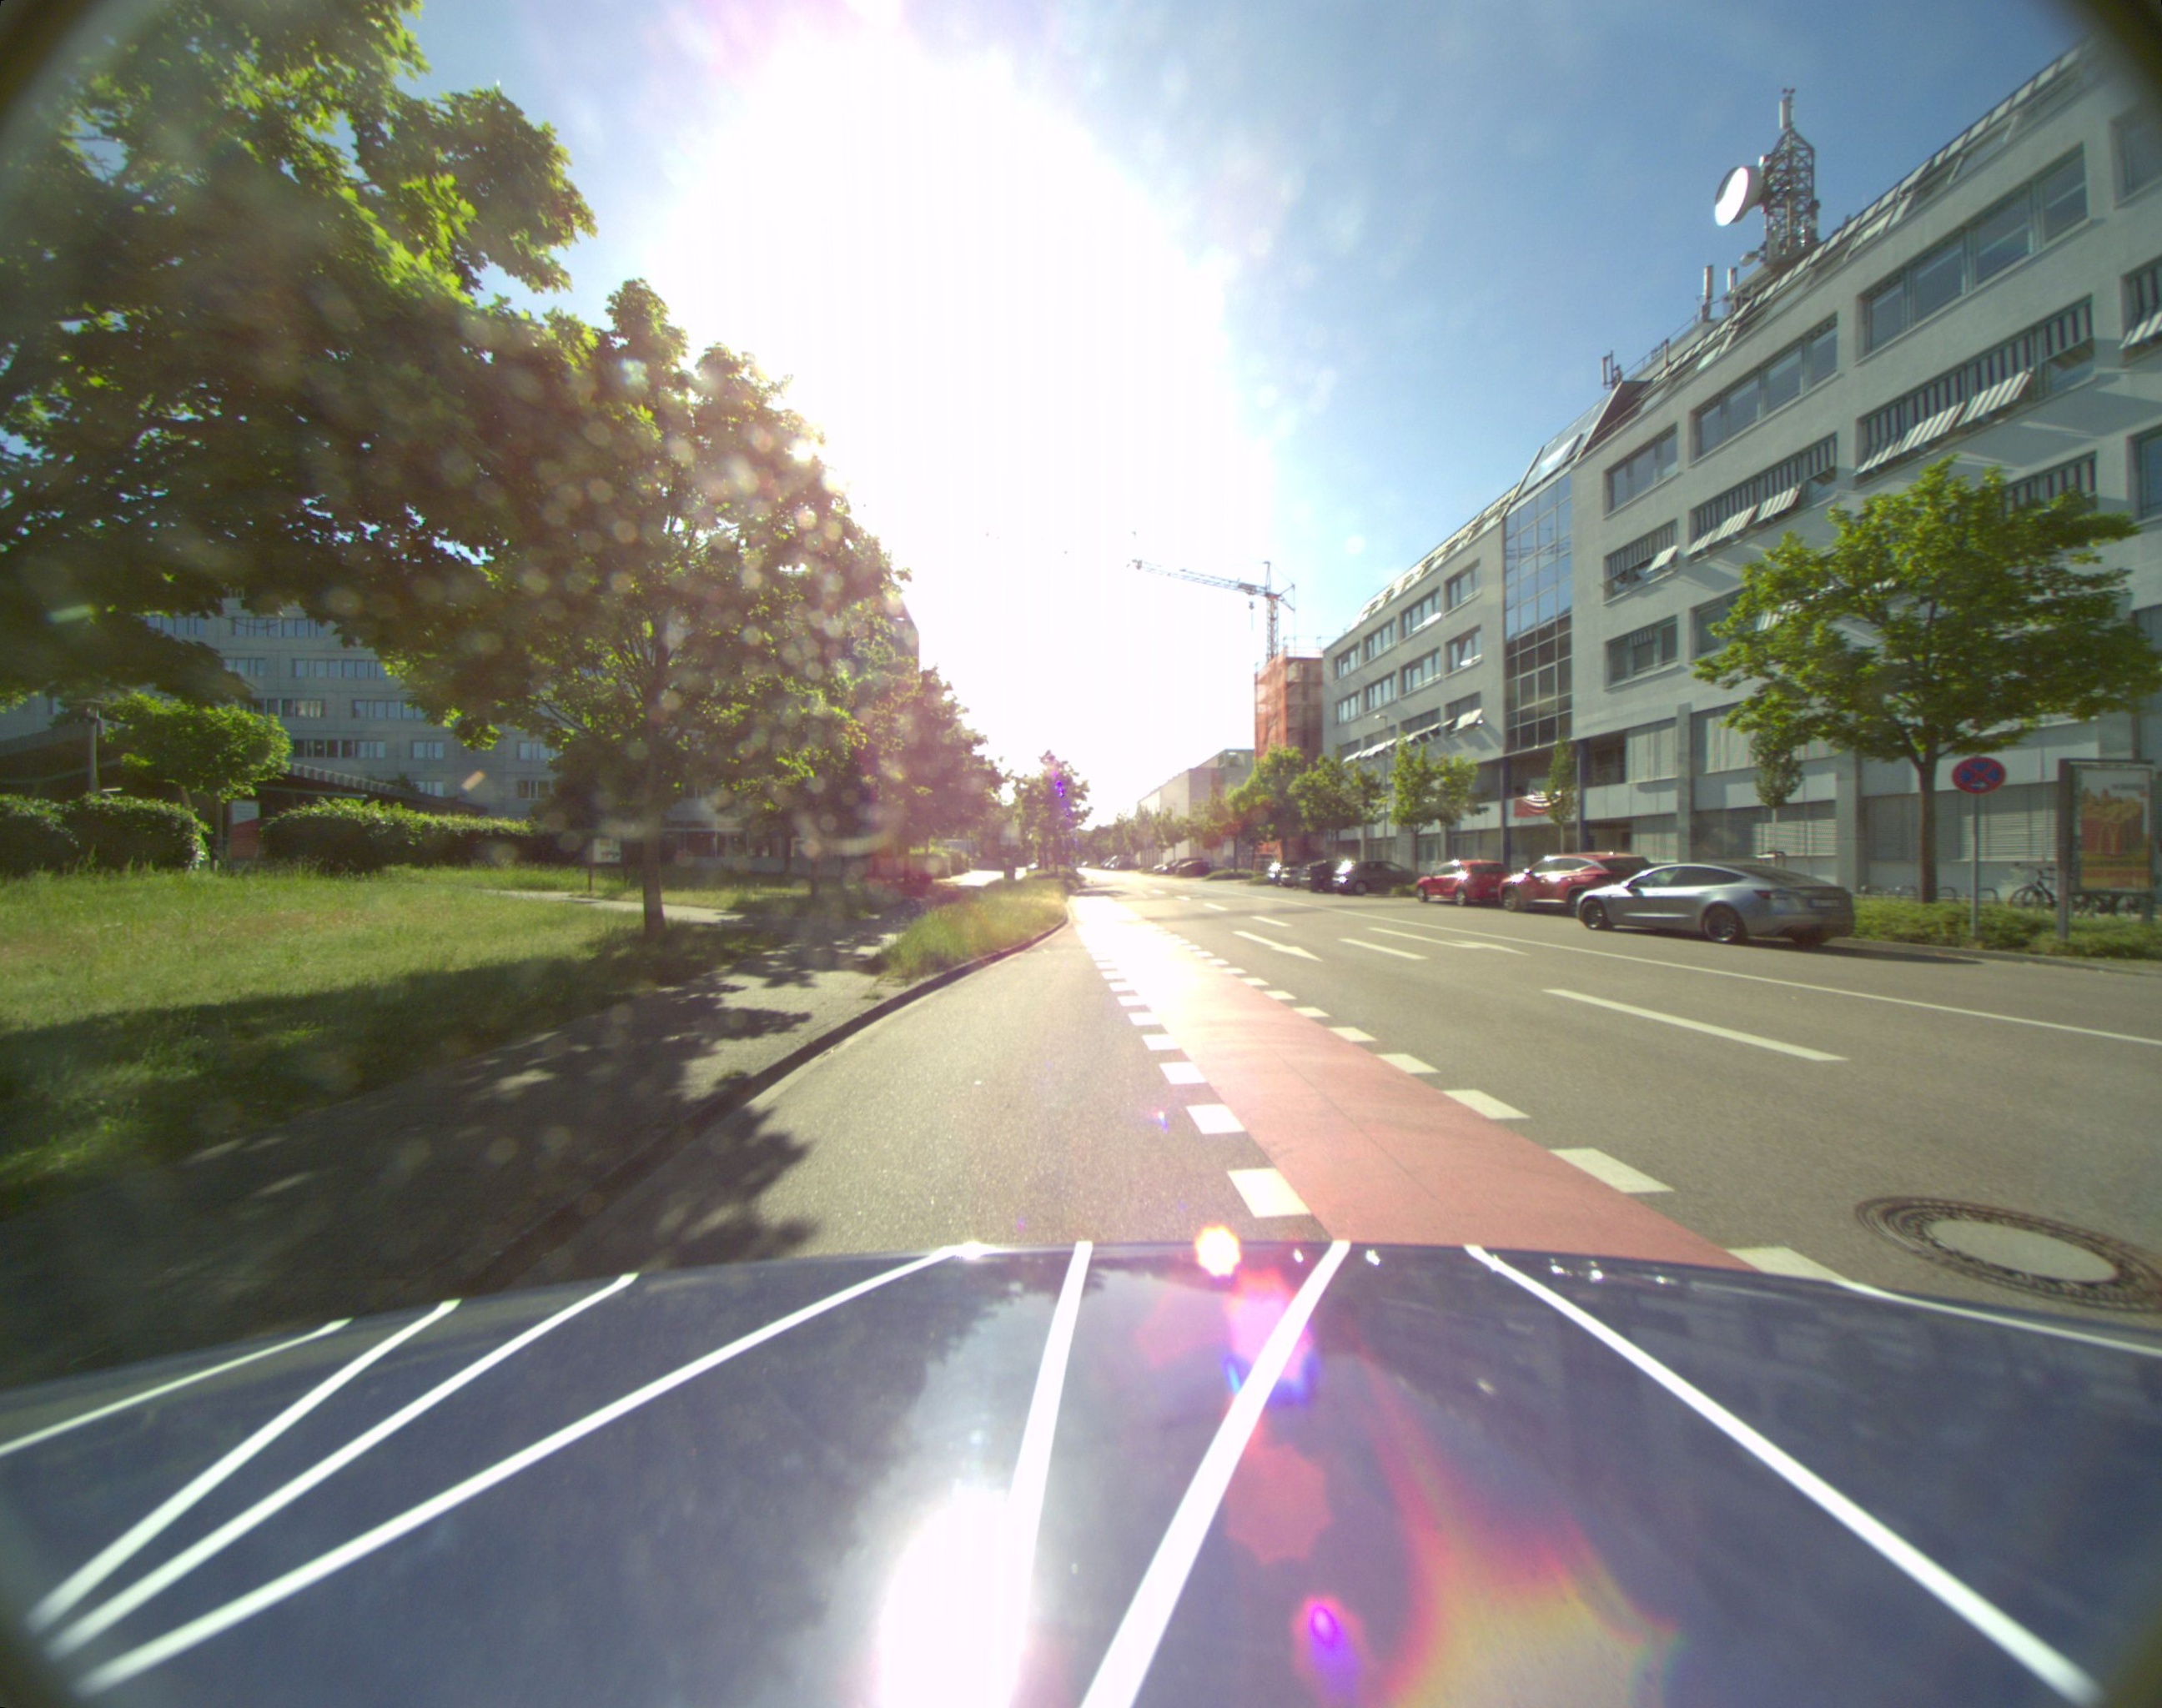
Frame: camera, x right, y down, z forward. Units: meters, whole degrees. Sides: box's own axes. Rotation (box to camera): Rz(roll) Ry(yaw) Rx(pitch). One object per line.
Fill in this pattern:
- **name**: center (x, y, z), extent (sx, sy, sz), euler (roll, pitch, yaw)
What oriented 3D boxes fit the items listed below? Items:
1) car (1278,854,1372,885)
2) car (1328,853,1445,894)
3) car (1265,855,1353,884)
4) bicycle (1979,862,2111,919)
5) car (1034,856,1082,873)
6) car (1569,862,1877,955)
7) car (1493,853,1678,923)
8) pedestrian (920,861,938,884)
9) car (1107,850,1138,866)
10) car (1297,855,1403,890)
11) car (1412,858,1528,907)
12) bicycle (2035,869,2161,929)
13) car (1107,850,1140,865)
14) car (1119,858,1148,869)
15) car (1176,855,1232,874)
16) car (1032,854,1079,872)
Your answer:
- **car**: center (12.942, 0.820, 40.361), extent (4.398, 1.423, 1.693), euler (-2, 0, -4)
- **car**: center (13.216, 0.819, 32.973), extent (4.399, 1.529, 1.692), euler (-2, 0, -8)
- **car**: center (12.789, 0.857, 42.692), extent (4.398, 1.423, 1.693), euler (-2, 0, -4)
- **bicycle**: center (19.165, 0.715, 15.123), extent (1.771, 1.063, 0.556), euler (1, 0, 4)
- **car**: center (-2.169, 0.948, 70.518), extent (4.414, 1.454, 1.895), euler (1, 0, -3)
- **car**: center (11.740, 0.893, 14.413), extent (1.693, 1.459, 4.545), euler (0, 0, -6)
- **car**: center (13.207, 0.815, 20.268), extent (1.693, 1.598, 4.308), euler (-3, 0, -6)
- **pedestrian**: center (-8.092, 0.975, 40.400), extent (0.848, 1.210, 0.728), euler (1, 0, -15)
- **car**: center (7.763, 0.772, 143.521), extent (5.584, 2.622, 2.010), euler (-2, 0, -1)
- **car**: center (12.697, 0.857, 35.999), extent (4.398, 1.423, 1.693), euler (-2, 0, -6)
- **car**: center (12.840, 0.882, 25.373), extent (1.693, 1.423, 3.870), euler (-2, 0, -3)
- **bicycle**: center (19.385, 0.839, 14.362), extent (1.792, 1.063, 0.621), euler (1, 0, 4)
- **car**: center (7.368, 0.602, 131.548), extent (5.584, 2.468, 2.010), euler (-2, 0, -1)
- **car**: center (8.067, 1.475, 117.069), extent (4.316, 1.505, 1.718), euler (-2, 0, -4)
- **car**: center (10.740, 0.902, 66.435), extent (4.399, 1.423, 1.976), euler (-2, 0, -7)
- **car**: center (-2.468, 0.834, 72.789), extent (4.414, 1.631, 2.074), euler (1, 0, -3)
